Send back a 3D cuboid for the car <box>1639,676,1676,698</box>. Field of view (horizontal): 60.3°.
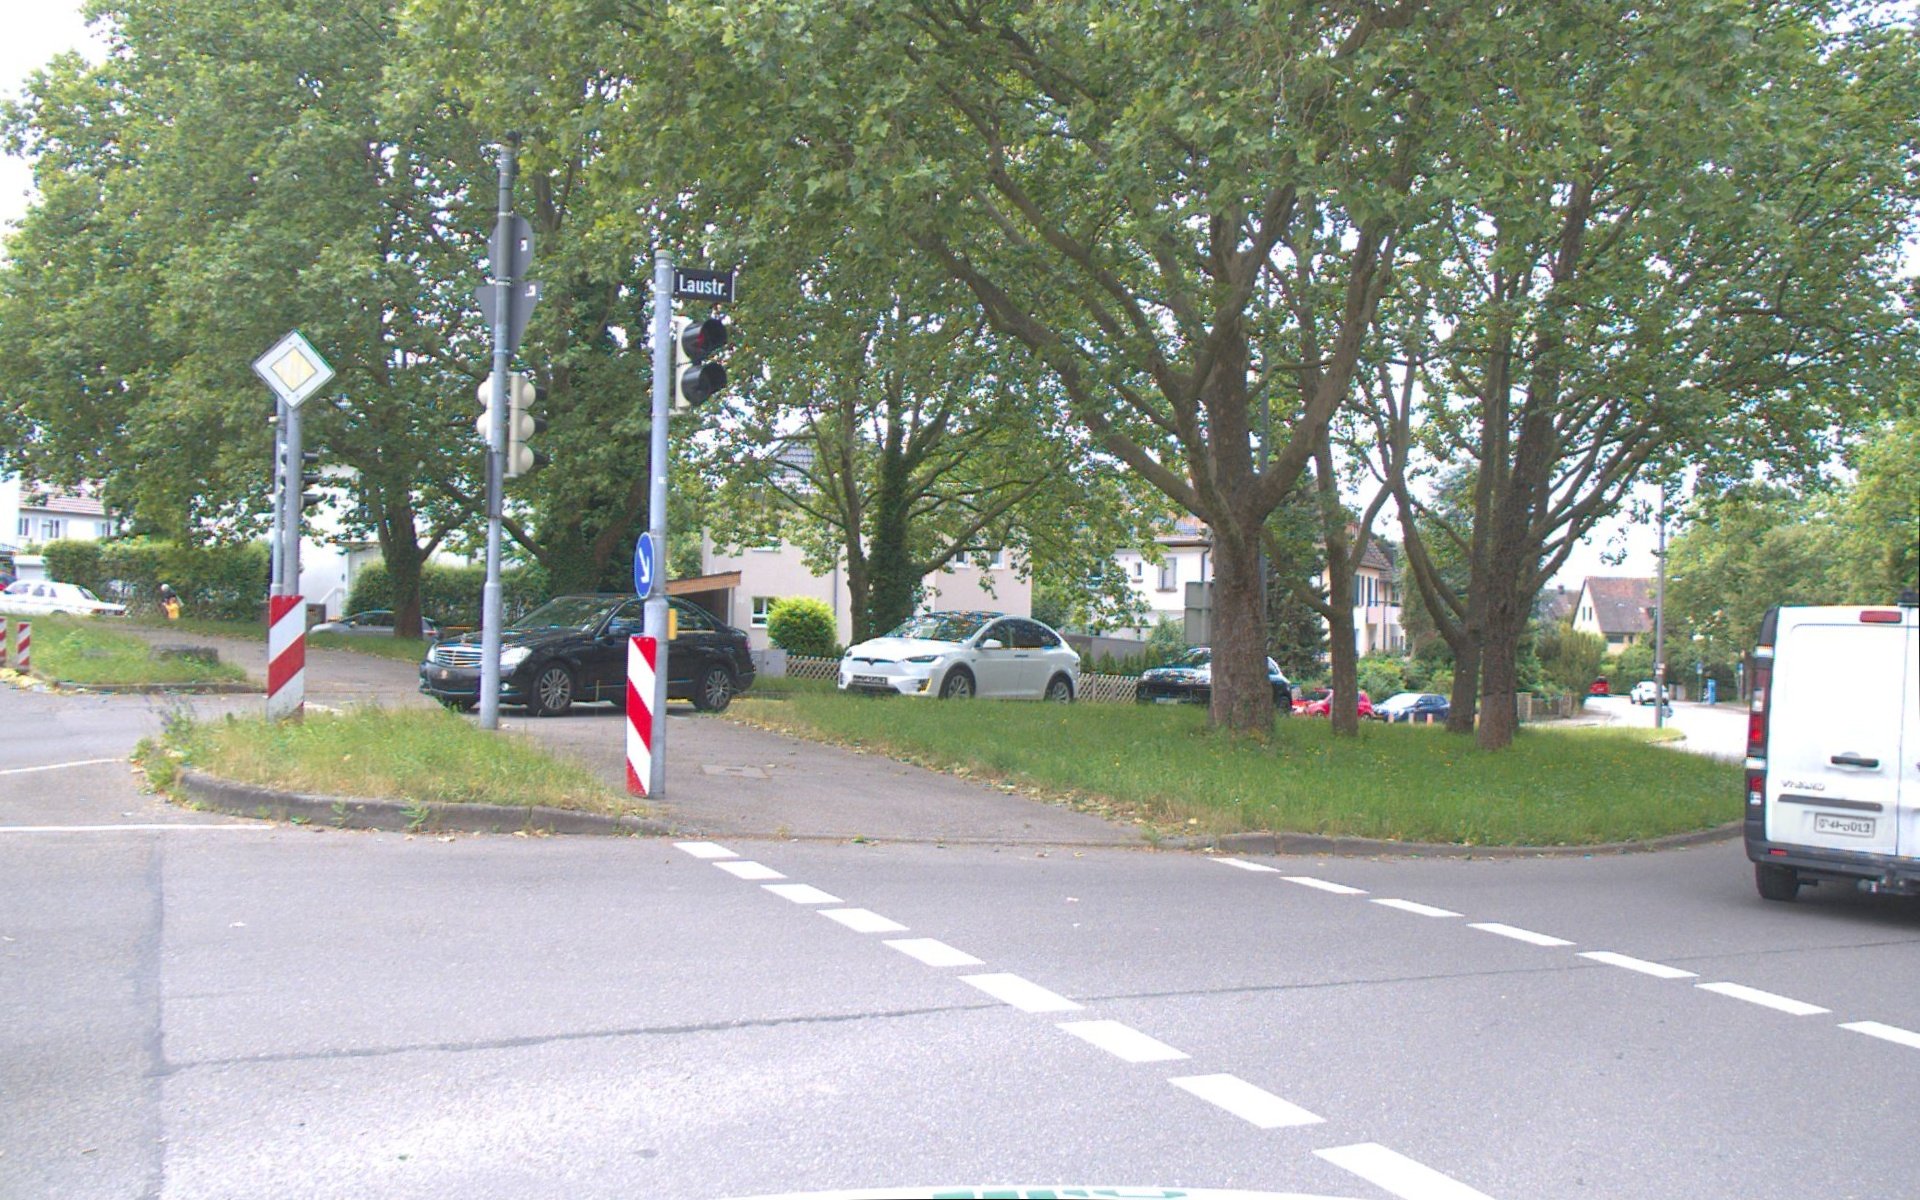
[{"bbox_3d":[50.428,6.293,119.669,1.690,1.500,3.384,2,-2,9],"label":"car"}]

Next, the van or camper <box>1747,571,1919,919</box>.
[{"bbox_3d":[7.192,0.911,11.766,1.893,2.049,4.808,2,0,37],"label":"van or camper"}]

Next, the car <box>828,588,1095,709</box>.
[{"bbox_3d":[0.147,0.723,26.313,1.819,1.687,4.891,2,0,34],"label":"car"}]

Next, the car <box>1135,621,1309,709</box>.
[{"bbox_3d":[5.461,1.286,34.014,1.727,1.619,4.598,2,0,34],"label":"car"}]

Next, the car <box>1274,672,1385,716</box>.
[{"bbox_3d":[14.064,3.567,62.872,4.228,1.500,1.712,4,-3,-35],"label":"car"}]

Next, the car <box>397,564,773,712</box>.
[{"bbox_3d":[-4.365,0.520,19.922,1.727,1.544,4.372,2,-2,34],"label":"car"}]

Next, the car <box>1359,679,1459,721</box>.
[{"bbox_3d":[17.937,4.004,66.045,4.273,1.500,1.708,4,-3,-40],"label":"car"}]

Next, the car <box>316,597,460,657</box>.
[{"bbox_3d":[-17.952,0.839,52.021,3.910,1.540,1.659,5,0,-8],"label":"car"}]

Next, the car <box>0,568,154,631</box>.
[{"bbox_3d":[-28.216,-0.034,51.823,4.765,1.822,2.217,2,0,3],"label":"car"}]

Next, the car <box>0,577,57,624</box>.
[{"bbox_3d":[-33.682,-0.013,57.761,1.570,1.544,3.827,3,-2,12],"label":"car"}]
